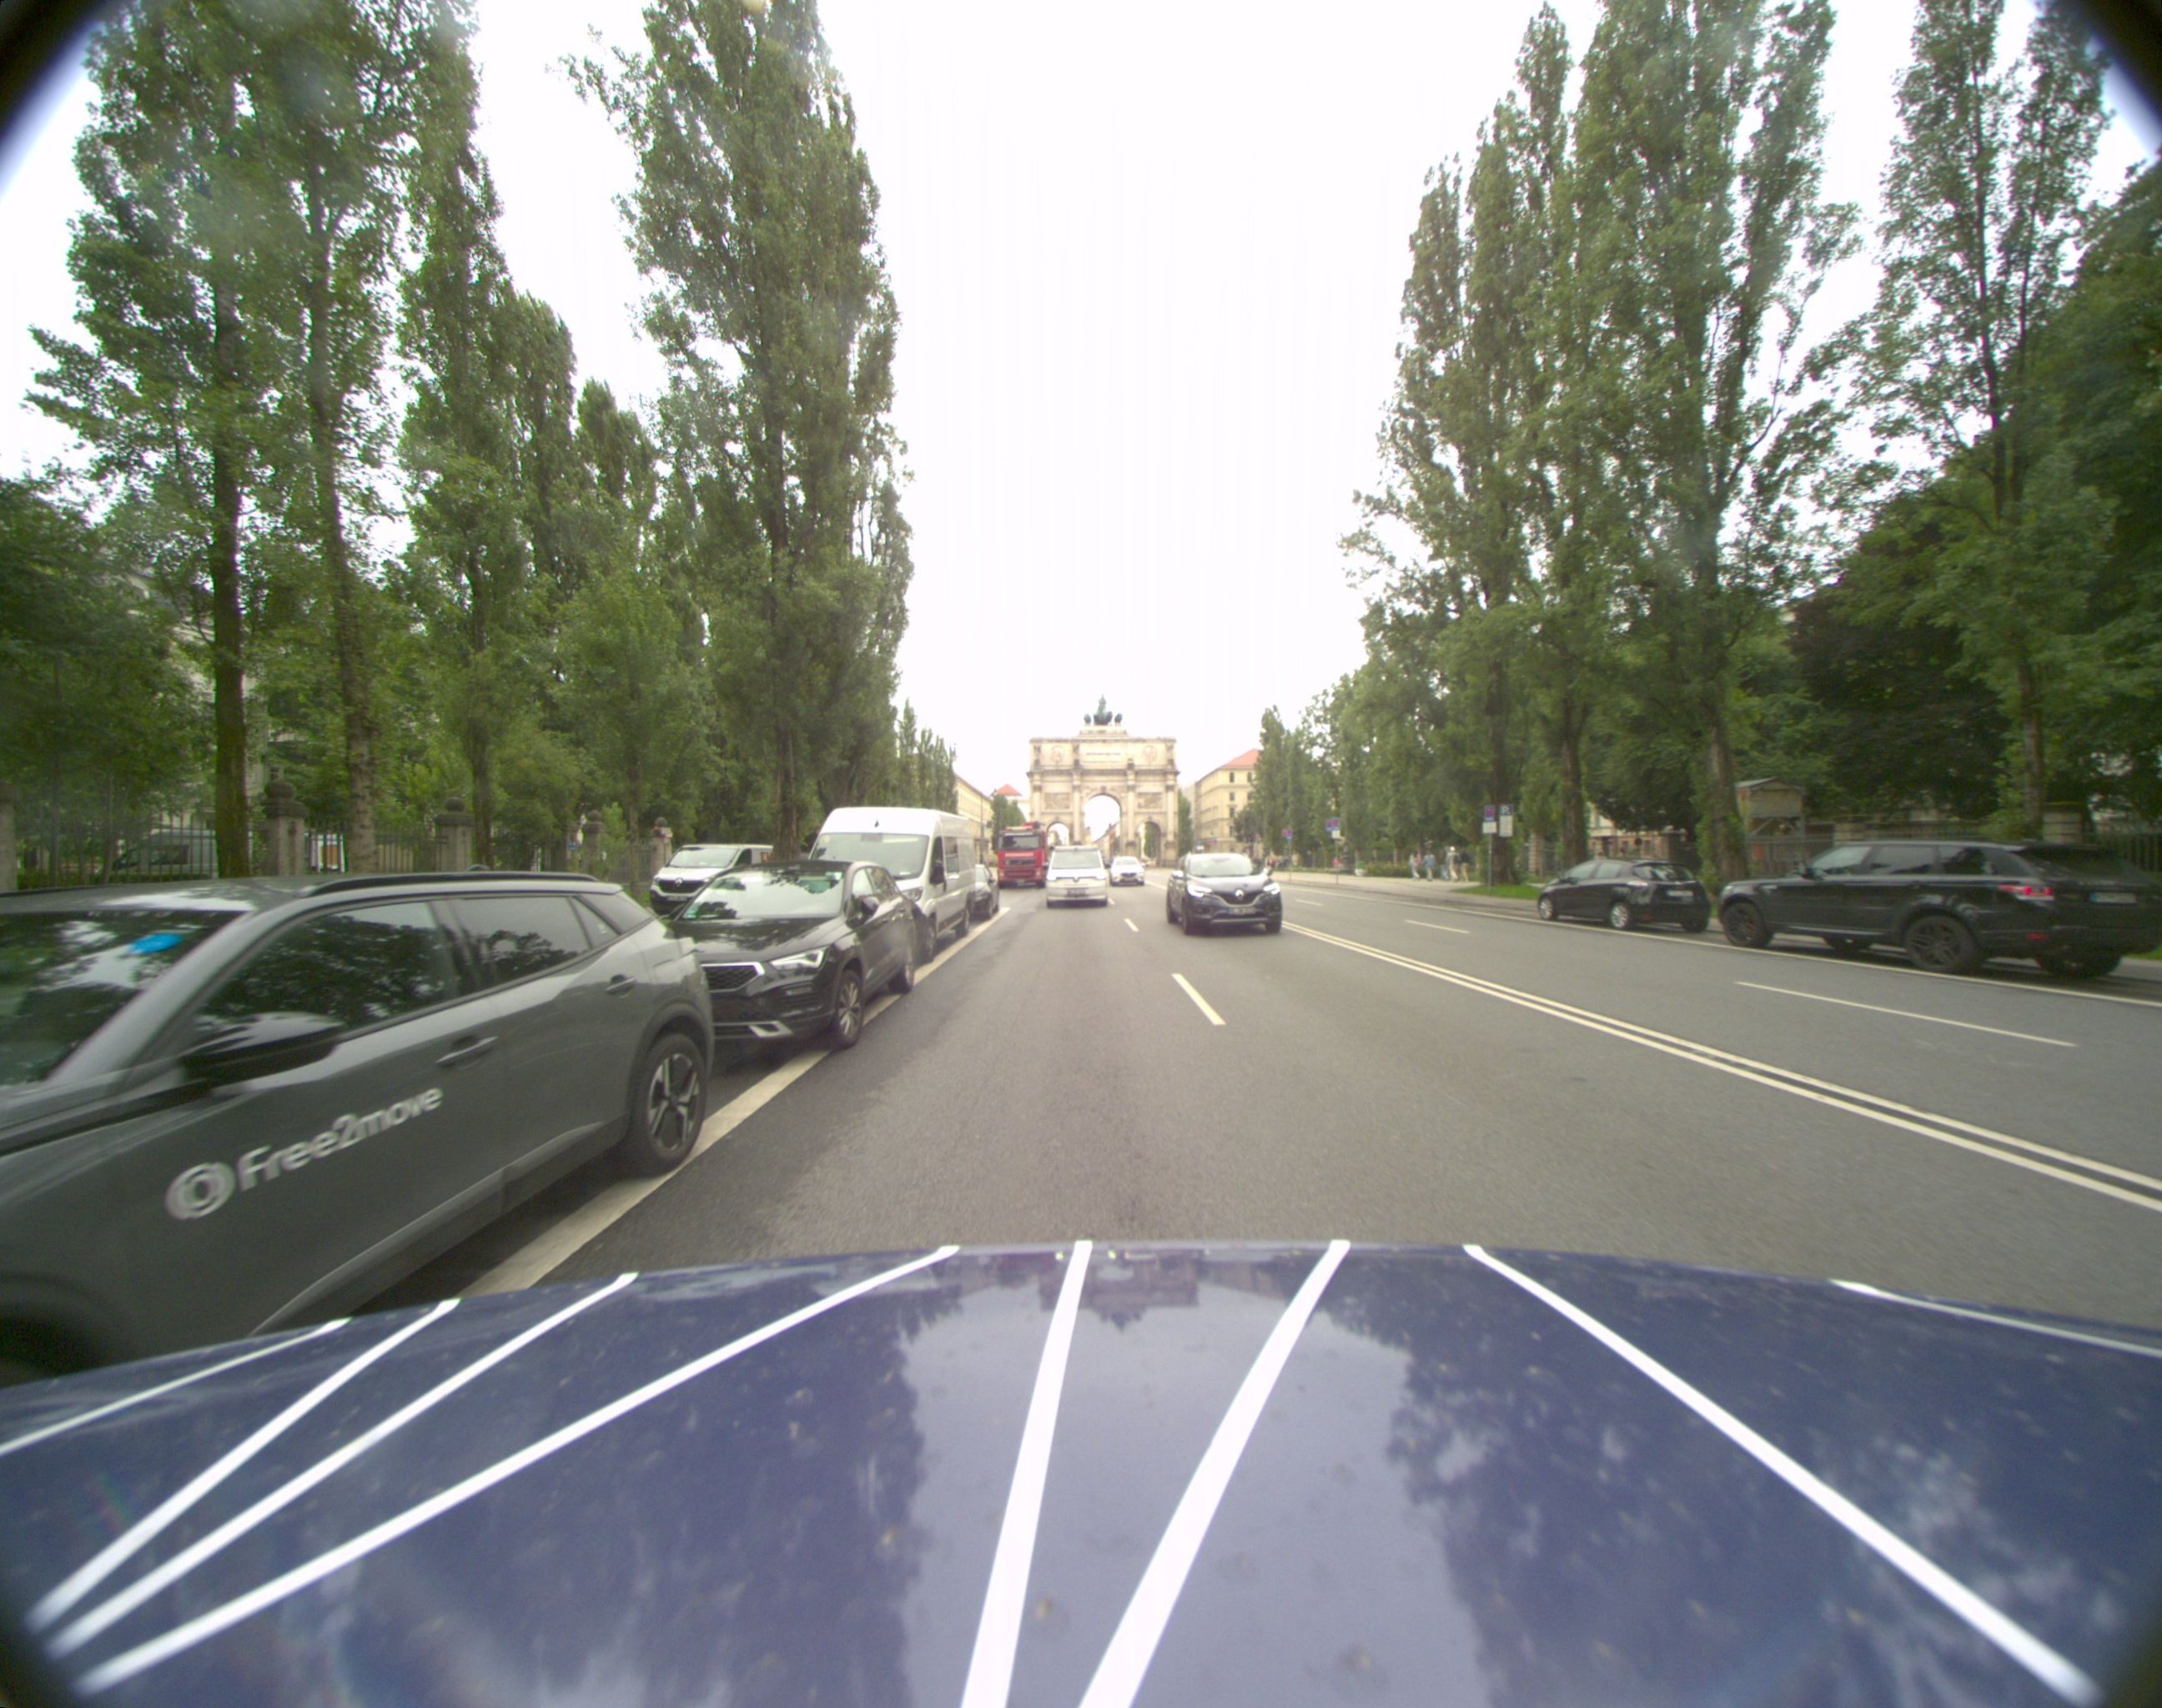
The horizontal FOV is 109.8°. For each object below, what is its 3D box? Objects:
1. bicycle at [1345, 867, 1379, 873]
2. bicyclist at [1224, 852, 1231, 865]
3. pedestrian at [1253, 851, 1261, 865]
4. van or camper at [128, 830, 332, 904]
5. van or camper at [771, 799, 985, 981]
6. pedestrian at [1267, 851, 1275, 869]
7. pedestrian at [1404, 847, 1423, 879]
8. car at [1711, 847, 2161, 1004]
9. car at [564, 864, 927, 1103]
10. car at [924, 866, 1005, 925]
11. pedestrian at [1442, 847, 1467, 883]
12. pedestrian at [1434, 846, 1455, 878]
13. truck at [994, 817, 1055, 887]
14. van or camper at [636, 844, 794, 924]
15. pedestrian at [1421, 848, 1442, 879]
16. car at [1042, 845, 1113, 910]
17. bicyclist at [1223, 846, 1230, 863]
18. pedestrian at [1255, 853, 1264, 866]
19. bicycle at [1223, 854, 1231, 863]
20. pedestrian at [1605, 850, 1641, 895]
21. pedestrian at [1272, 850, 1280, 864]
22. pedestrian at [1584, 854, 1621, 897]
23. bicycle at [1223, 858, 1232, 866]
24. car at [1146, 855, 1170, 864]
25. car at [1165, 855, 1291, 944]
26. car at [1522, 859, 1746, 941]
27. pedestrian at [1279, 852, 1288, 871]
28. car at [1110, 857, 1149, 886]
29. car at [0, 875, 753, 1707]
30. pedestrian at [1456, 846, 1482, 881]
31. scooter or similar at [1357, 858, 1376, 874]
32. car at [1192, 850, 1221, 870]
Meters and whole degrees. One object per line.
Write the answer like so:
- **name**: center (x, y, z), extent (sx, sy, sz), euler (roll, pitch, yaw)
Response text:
- **bicycle**: center (22.740, 1.271, 61.508), extent (2.219, 0.450, 1.339), euler (0, -1, -23)
- **bicyclist**: center (18.517, 0.545, 95.993), extent (0.647, 1.582, 0.661), euler (-2, 0, -2)
- **pedestrian**: center (22.689, 0.537, 97.840), extent (0.959, 1.708, 1.031), euler (-2, 1, 12)
- **van or camper**: center (-32.481, 0.483, 29.131), extent (5.223, 2.690, 2.249), euler (0, 0, 0)
- **van or camper**: center (-3.246, 0.498, 13.845), extent (2.144, 2.525, 6.417), euler (-1, 0, 0)
- **pedestrian**: center (17.857, 0.577, 71.423), extent (0.533, 1.720, 0.583), euler (0, 0, -11)
- **pedestrian**: center (18.051, 0.494, 41.259), extent (0.631, 1.737, 0.908), euler (0, 0, -1)
- **car**: center (12.232, 0.832, 11.147), extent (2.051, 1.776, 4.800), euler (2, 0, 2)
- **car**: center (-2.822, 0.943, 7.598), extent (1.789, 1.639, 4.417), euler (-1, 0, -2)
- **car**: center (-3.105, 1.064, 20.935), extent (1.680, 1.412, 3.999), euler (-1, 0, -2)
- **pedestrian**: center (19.224, 0.570, 39.155), extent (0.711, 1.823, 1.092), euler (-1, 1, -1)
- **pedestrian**: center (19.816, 0.453, 41.445), extent (0.661, 1.706, 0.911), euler (0, 0, -1)
- **truck**: center (-3.069, -0.092, 44.151), extent (2.852, 3.543, 10.278), euler (-1, 0, -1)
- **van or camper**: center (-10.018, 0.746, 21.332), extent (1.980, 1.922, 5.038), euler (-2, 0, -1)
- **pedestrian**: center (19.039, 0.507, 41.297), extent (0.689, 1.690, 0.885), euler (0, 0, -1)
- **car**: center (-0.078, 0.709, 25.644), extent (2.064, 1.916, 5.728), euler (-1, 0, 1)
- **bicyclist**: center (16.300, 0.033, 84.899), extent (0.591, 1.812, 0.661), euler (-2, 0, -2)
- **pedestrian**: center (24.195, 0.682, 103.135), extent (0.958, 1.708, 1.032), euler (-2, 1, 22)
- **bicycle**: center (16.313, 0.488, 84.868), extent (0.470, 0.947, 1.913), euler (-2, 0, -1)
- **pedestrian**: center (19.792, 0.670, 27.753), extent (0.720, 1.595, 0.813), euler (0, 0, -1)
- **pedestrian**: center (27.234, 0.441, 106.238), extent (0.990, 1.860, 1.031), euler (-2, 1, 10)
- **pedestrian**: center (19.033, 0.775, 27.730), extent (0.720, 1.539, 0.875), euler (-1, 0, -1)
- **bicycle**: center (18.548, 0.964, 95.997), extent (0.674, 0.947, 1.913), euler (-2, 0, -1)
- **car**: center (14.123, 1.001, 139.294), extent (2.004, 1.739, 3.989), euler (0, 0, -40)
- **car**: center (2.883, 0.826, 15.807), extent (1.840, 1.576, 4.185), euler (-1, 0, 1)
- **car**: center (12.365, 0.940, 17.435), extent (1.949, 1.574, 4.389), euler (1, 0, 0)
- **pedestrian**: center (17.766, 0.648, 66.741), extent (0.533, 1.720, 0.583), euler (0, 0, -11)
- **car**: center (2.599, 0.918, 41.370), extent (1.910, 1.516, 4.009), euler (-1, 0, 0)
- **car**: center (-2.916, 0.930, 2.353), extent (1.788, 1.608, 4.637), euler (-1, 0, 0)
- **pedestrian**: center (20.015, 0.466, 39.211), extent (0.711, 1.762, 1.093), euler (-1, 0, -1)
- **scooter or similar**: center (21.351, 0.889, 56.872), extent (0.747, 1.171, 1.416), euler (1, 0, -5)
- **car**: center (11.536, 0.559, 70.066), extent (1.797, 1.330, 4.463), euler (0, 6, -2)
